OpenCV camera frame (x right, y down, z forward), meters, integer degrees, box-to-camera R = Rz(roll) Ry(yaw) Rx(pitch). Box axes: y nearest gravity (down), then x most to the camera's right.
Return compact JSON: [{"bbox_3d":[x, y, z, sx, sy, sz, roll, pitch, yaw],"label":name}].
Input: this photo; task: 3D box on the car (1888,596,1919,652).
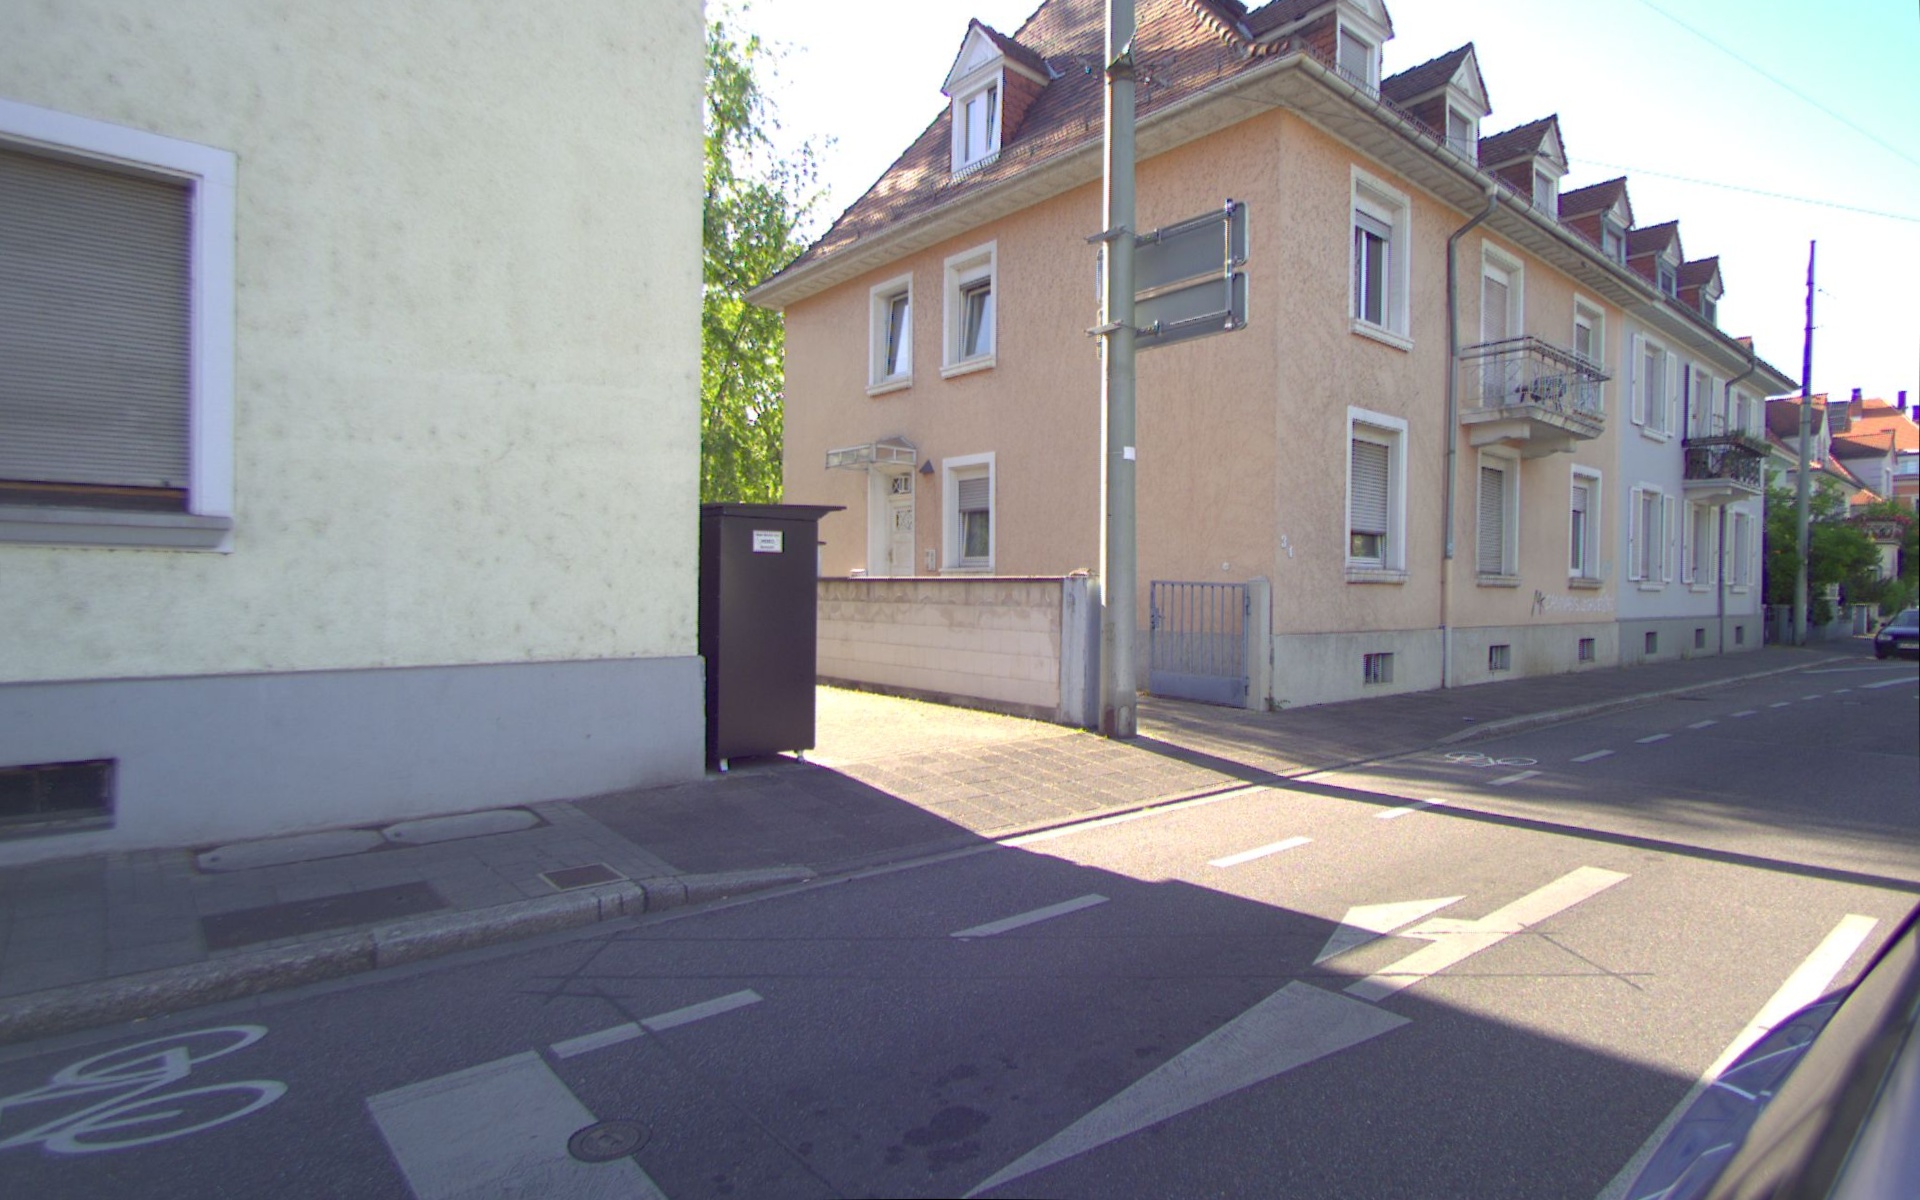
[{"bbox_3d":[26.707,0.627,27.393,4.347,1.425,1.866,0,1,-41],"label":"car"}]
